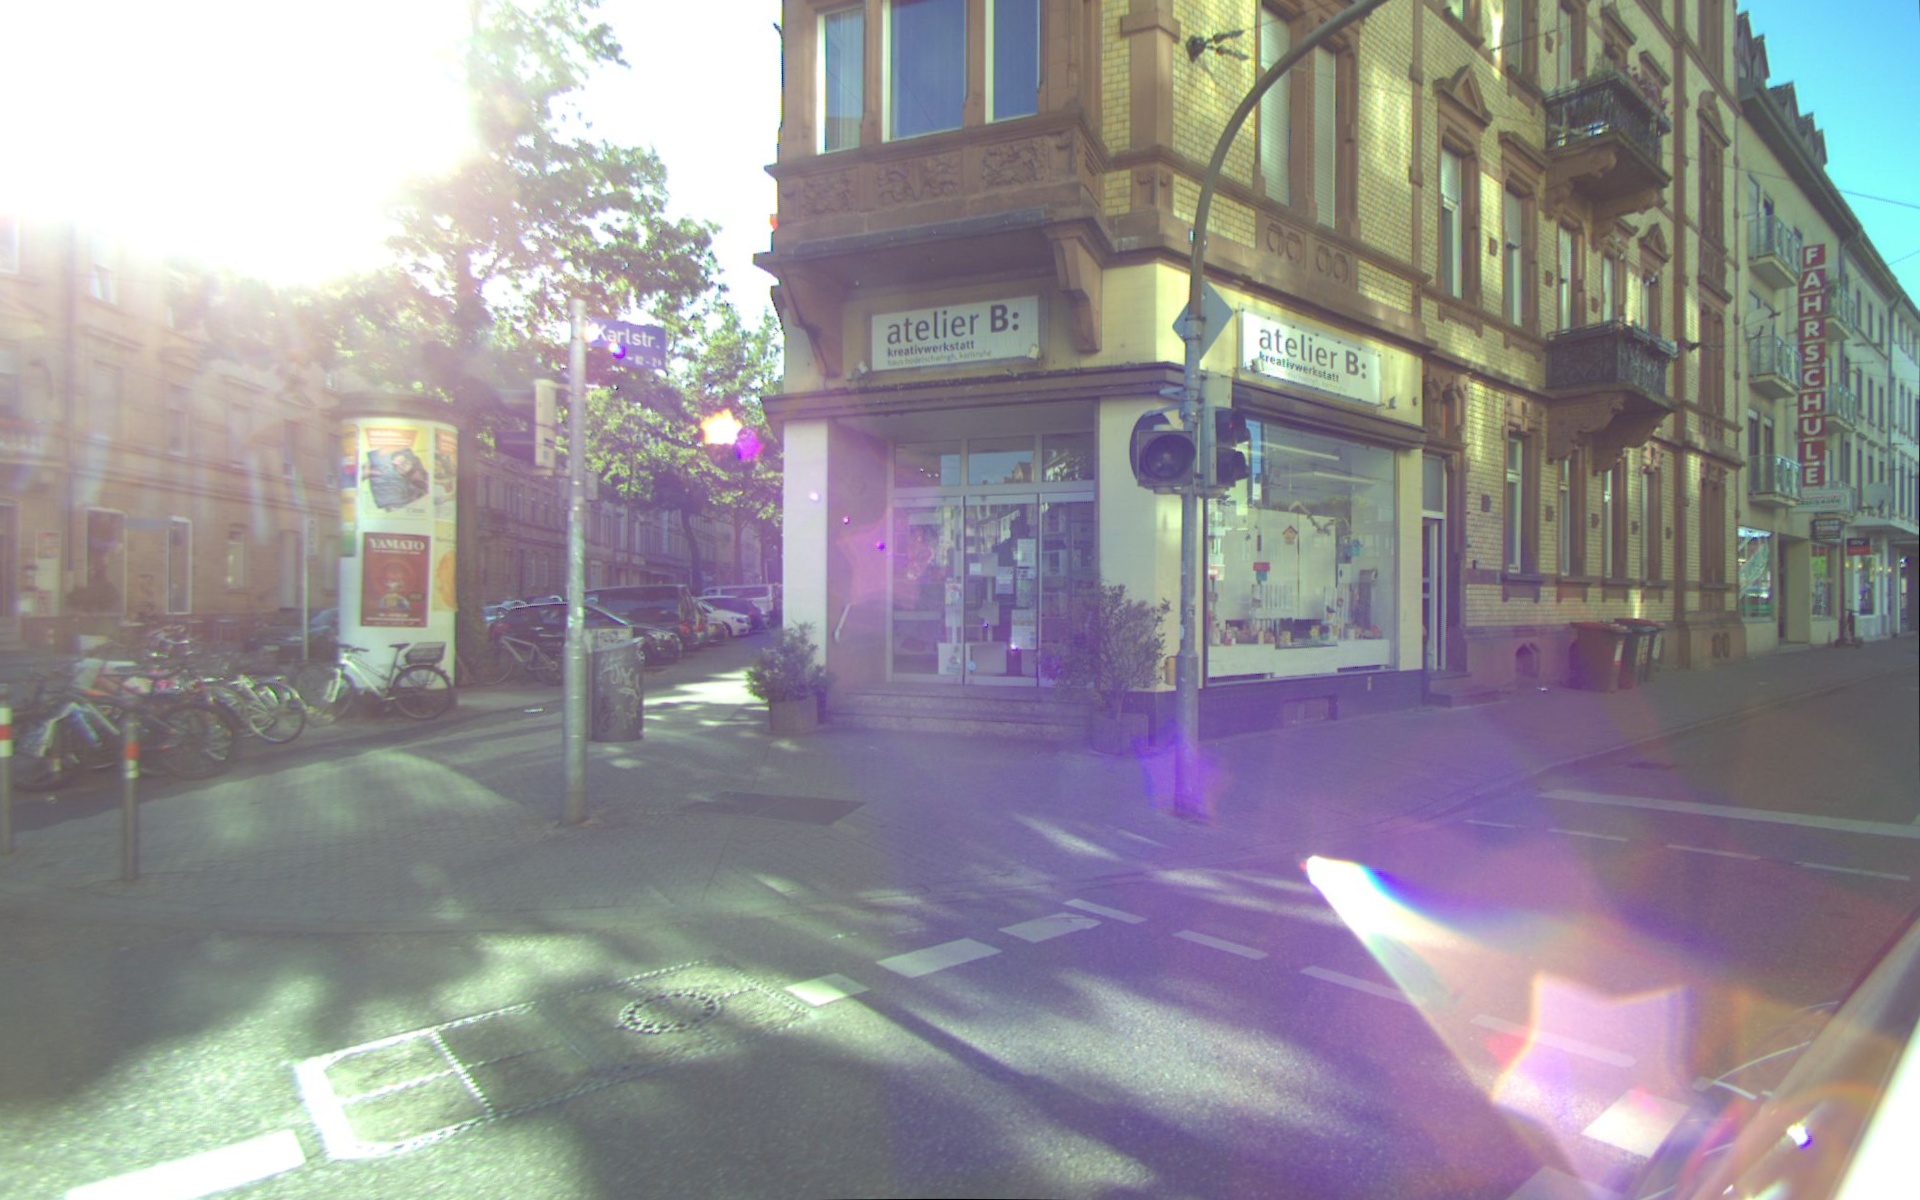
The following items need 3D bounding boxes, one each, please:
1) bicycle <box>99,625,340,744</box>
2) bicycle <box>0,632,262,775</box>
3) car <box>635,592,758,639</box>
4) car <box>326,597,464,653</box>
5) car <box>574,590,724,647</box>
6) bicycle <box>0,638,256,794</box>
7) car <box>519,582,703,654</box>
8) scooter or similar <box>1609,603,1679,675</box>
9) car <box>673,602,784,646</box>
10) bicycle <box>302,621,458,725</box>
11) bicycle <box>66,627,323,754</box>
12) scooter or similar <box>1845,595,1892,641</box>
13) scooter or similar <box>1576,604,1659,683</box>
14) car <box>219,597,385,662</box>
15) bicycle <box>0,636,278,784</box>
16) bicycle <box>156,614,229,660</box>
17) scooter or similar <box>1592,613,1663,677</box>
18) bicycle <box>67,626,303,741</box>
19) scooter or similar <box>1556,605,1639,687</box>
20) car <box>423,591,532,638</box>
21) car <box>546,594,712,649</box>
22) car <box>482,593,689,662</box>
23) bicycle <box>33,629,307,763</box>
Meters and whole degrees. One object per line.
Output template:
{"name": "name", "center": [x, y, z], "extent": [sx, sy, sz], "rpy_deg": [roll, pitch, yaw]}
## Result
{"name": "bicycle", "center": [-8.302, 0.921, 11.453], "extent": [2.076, 1.157, 0.619], "rpy_deg": [-3, 1, -18]}
{"name": "bicycle", "center": [-7.914, 0.943, 9.532], "extent": [2.076, 1.157, 0.619], "rpy_deg": [-3, 1, -18]}
{"name": "car", "center": [-8.818, 0.493, 34.181], "extent": [3.917, 1.544, 1.679], "rpy_deg": [0, 0, -10]}
{"name": "car", "center": [-17.811, 0.732, 32.149], "extent": [1.812, 1.625, 4.247], "rpy_deg": [-1, 0, 3]}
{"name": "car", "center": [-8.701, 0.488, 28.594], "extent": [3.917, 1.544, 1.554], "rpy_deg": [0, 0, -10]}
{"name": "bicycle", "center": [-7.314, 0.956, 8.587], "extent": [2.076, 1.157, 0.619], "rpy_deg": [-2, 0, -18]}
{"name": "car", "center": [-8.180, 0.394, 24.079], "extent": [3.917, 1.622, 1.828], "rpy_deg": [0, 0, -10]}
{"name": "scooter or similar", "center": [11.988, 0.658, 17.750], "extent": [0.776, 1.162, 0.792], "rpy_deg": [0, 4, -42]}
{"name": "car", "center": [-10.054, 1.036, 44.196], "extent": [4.578, 1.856, 1.552], "rpy_deg": [0, 0, -4]}
{"name": "bicycle", "center": [-7.234, 0.889, 12.685], "extent": [1.583, 1.157, 0.545], "rpy_deg": [-3, 1, -18]}
{"name": "bicycle", "center": [-8.128, 0.934, 10.853], "extent": [2.076, 1.157, 0.619], "rpy_deg": [-3, 1, -18]}
{"name": "scooter or similar", "center": [27.768, 0.553, 30.930], "extent": [1.257, 1.295, 0.413], "rpy_deg": [3, 7, -24]}
{"name": "scooter or similar", "center": [10.641, 0.690, 16.390], "extent": [0.639, 1.162, 0.935], "rpy_deg": [0, 4, -42]}
{"name": "car", "center": [-17.194, 0.703, 26.711], "extent": [1.809, 1.517, 4.253], "rpy_deg": [-1, 0, -4]}
{"name": "bicycle", "center": [-7.416, 0.947, 9.047], "extent": [2.076, 1.157, 0.619], "rpy_deg": [-1, 0, -18]}
{"name": "bicycle", "center": [-18.623, 0.882, 24.602], "extent": [0.390, 1.056, 1.879], "rpy_deg": [0, 0, -1]}
{"name": "scooter or similar", "center": [11.138, 0.736, 16.892], "extent": [0.669, 0.969, 0.792], "rpy_deg": [0, 4, -42]}
{"name": "bicycle", "center": [-9.005, 0.943, 11.853], "extent": [2.076, 1.157, 0.619], "rpy_deg": [-3, 1, -18]}
{"name": "scooter or similar", "center": [9.951, 0.701, 15.812], "extent": [0.538, 1.162, 0.899], "rpy_deg": [0, 5, -42]}
{"name": "car", "center": [-17.547, 0.504, 37.045], "extent": [1.811, 1.625, 4.247], "rpy_deg": [0, 0, 3]}
{"name": "car", "center": [-8.517, 0.524, 26.310], "extent": [3.917, 1.374, 1.554], "rpy_deg": [0, 0, -10]}
{"name": "car", "center": [-7.910, 0.553, 21.731], "extent": [3.917, 1.389, 1.828], "rpy_deg": [0, 0, -10]}
{"name": "bicycle", "center": [-7.967, 0.936, 10.308], "extent": [2.076, 1.157, 0.619], "rpy_deg": [-3, 1, -18]}
